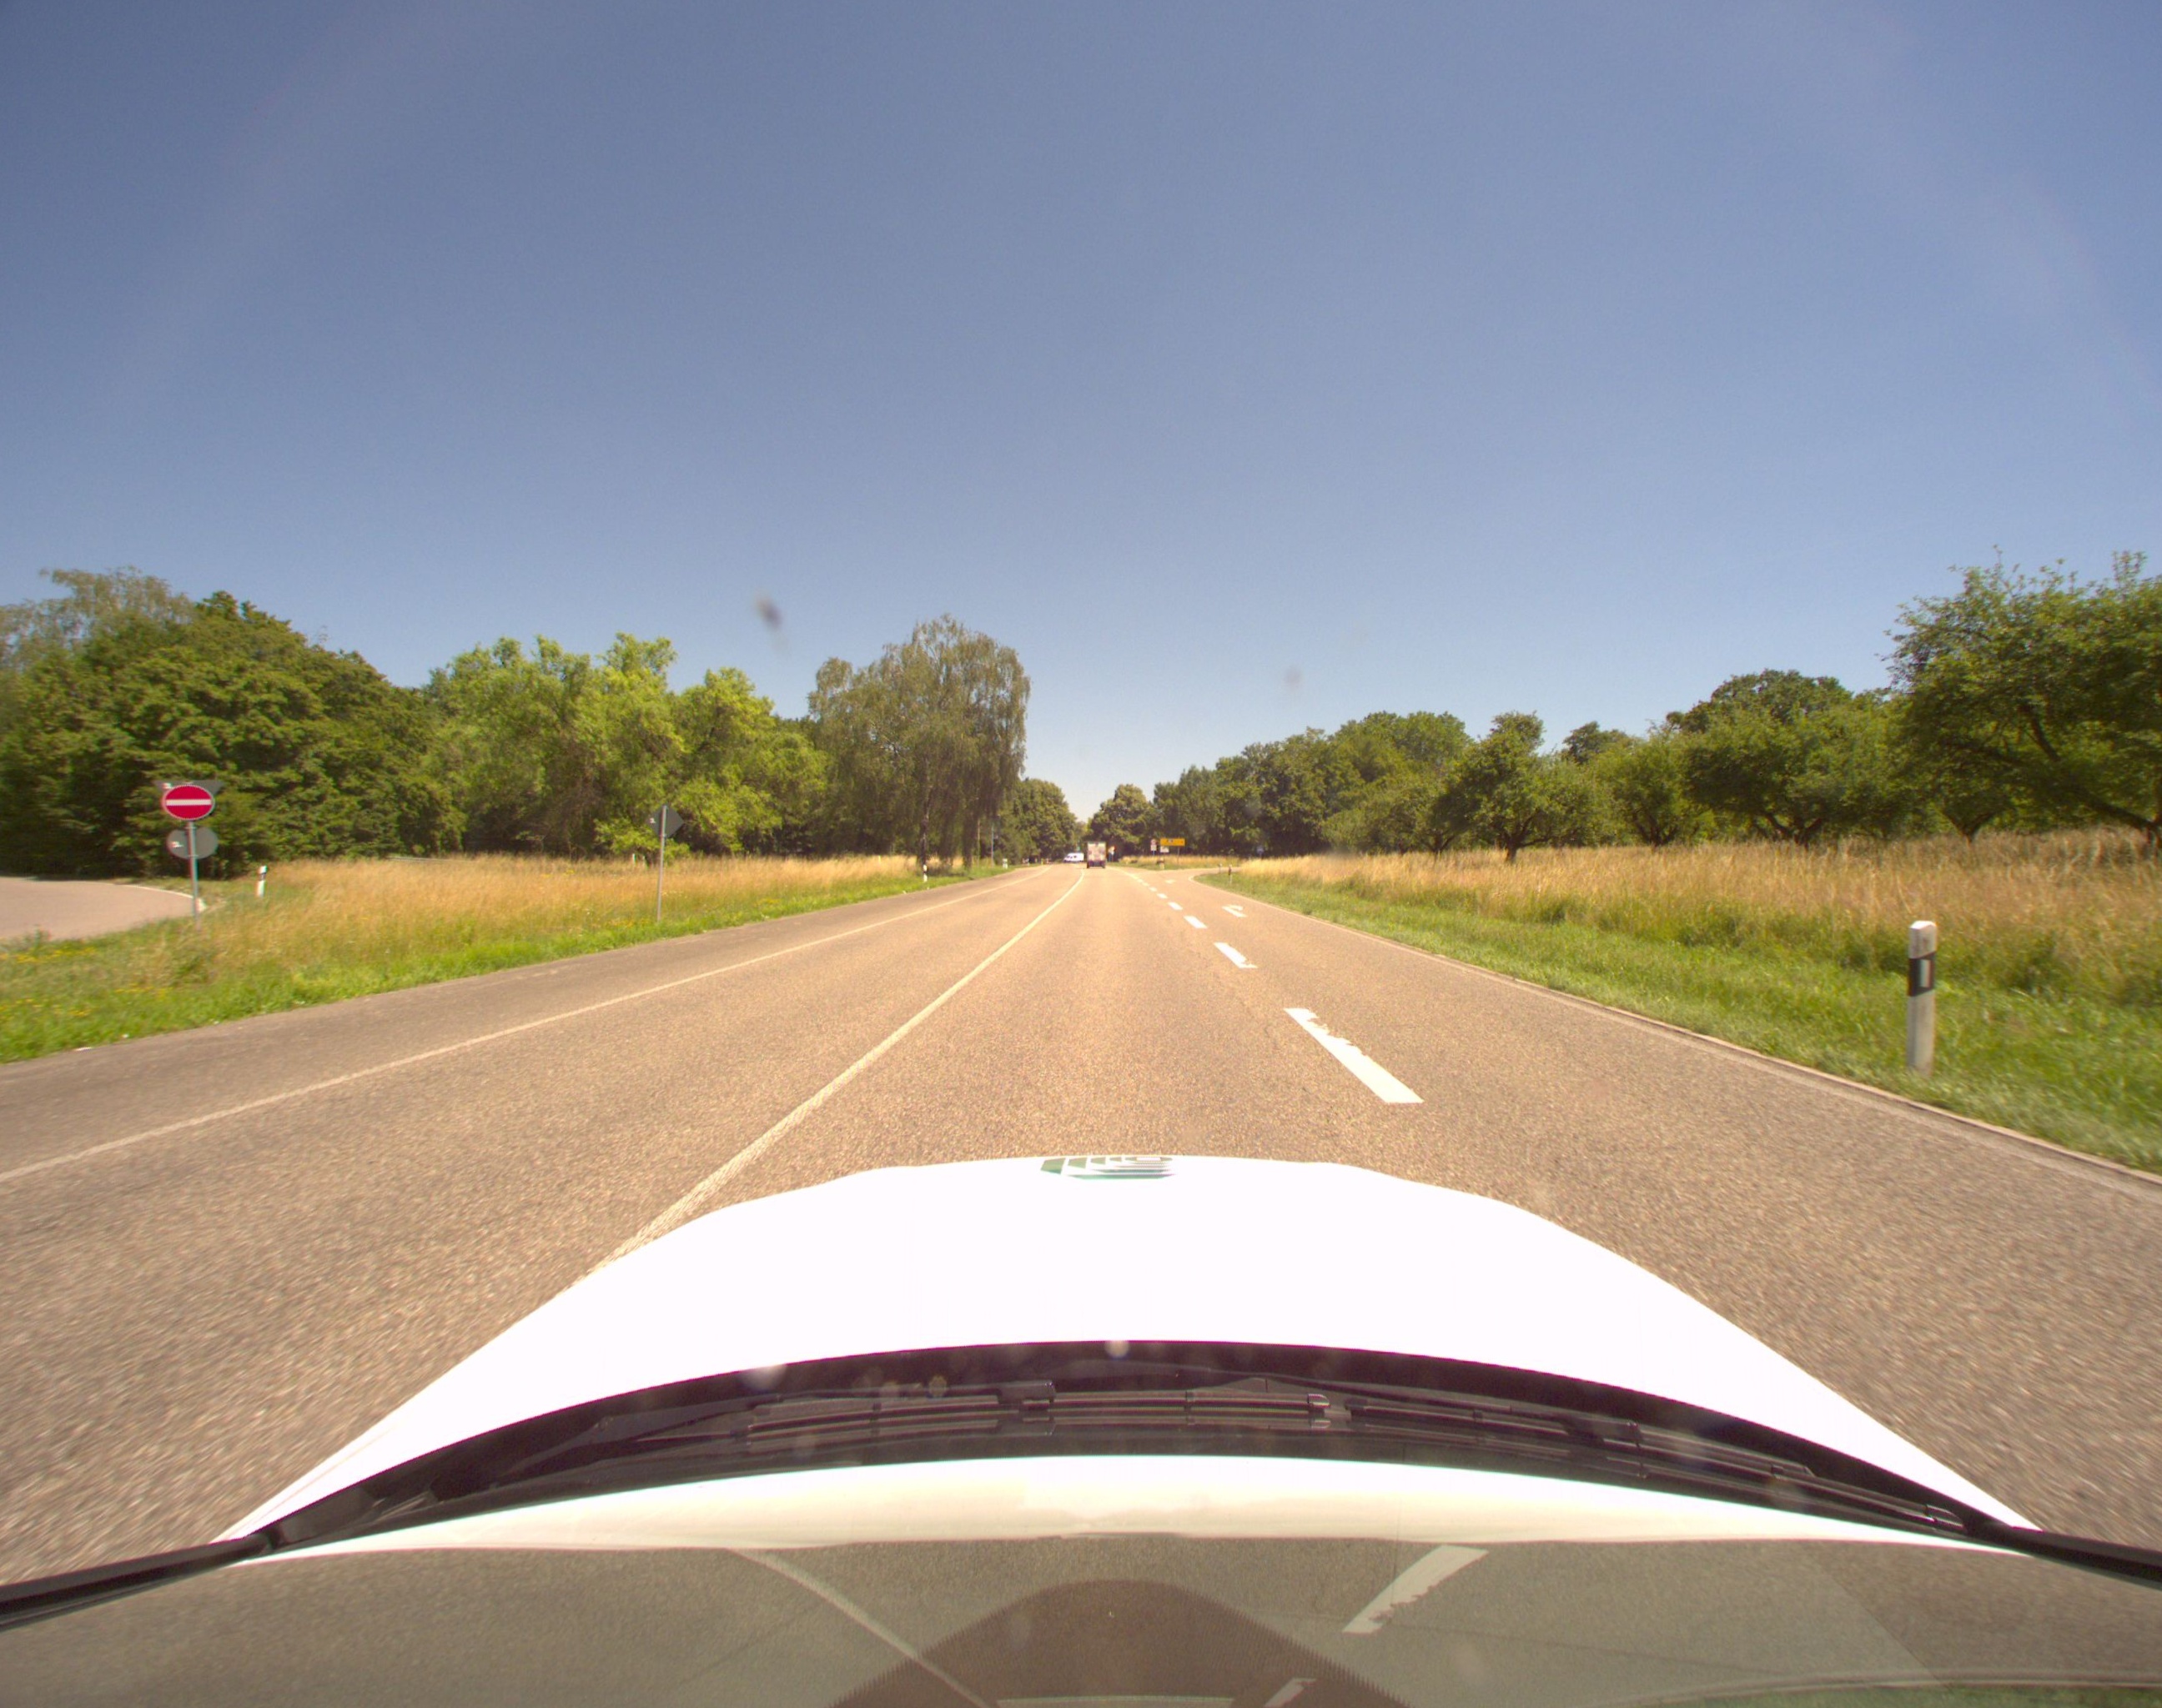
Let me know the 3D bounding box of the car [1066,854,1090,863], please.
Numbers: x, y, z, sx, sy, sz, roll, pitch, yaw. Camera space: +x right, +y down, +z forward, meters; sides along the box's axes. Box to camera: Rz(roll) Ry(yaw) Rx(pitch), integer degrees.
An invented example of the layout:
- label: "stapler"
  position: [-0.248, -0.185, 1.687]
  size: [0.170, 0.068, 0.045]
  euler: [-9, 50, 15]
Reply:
- label: "car"
  position: [-0.837, 1.201, 231.556]
  size: [6.800, 2.627, 2.061]
  euler: [0, -1, -28]

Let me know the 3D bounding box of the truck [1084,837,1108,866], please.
- label: "truck"
  position: [1.744, -0.268, 92.296]
  size: [2.523, 3.135, 5.365]
  euler: [-1, 0, 3]
